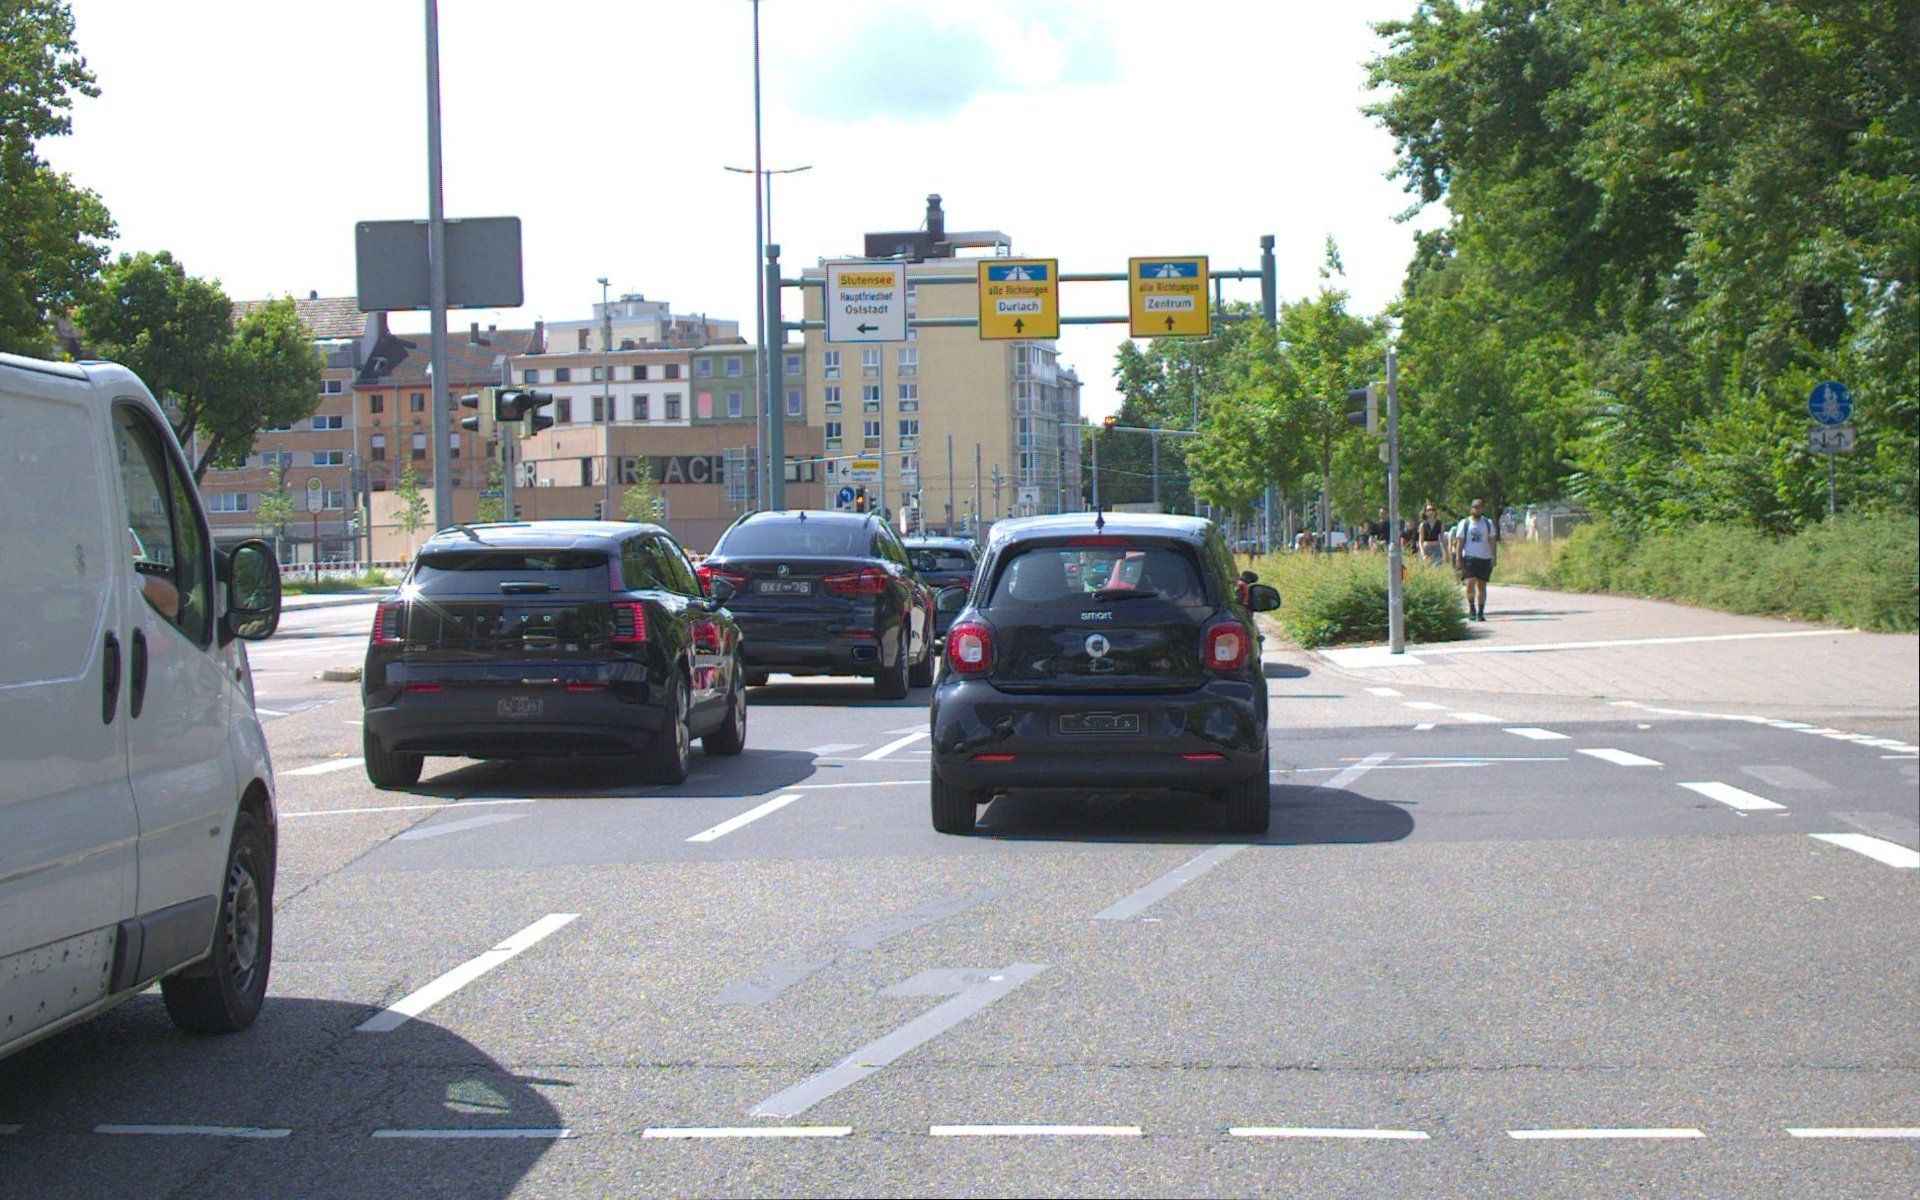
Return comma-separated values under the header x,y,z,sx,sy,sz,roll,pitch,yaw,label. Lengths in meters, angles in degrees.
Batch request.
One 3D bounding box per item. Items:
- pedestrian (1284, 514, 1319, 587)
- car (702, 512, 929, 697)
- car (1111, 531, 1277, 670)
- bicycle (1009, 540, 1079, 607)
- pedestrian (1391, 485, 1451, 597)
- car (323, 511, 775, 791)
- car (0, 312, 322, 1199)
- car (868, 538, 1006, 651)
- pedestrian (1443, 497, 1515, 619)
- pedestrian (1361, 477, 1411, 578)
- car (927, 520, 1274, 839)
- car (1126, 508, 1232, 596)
x,y,z,sx,sy,sz,roll,pitch,yaw,label
9.412,-1.367,94.662,0.838,1.962,0.861,-1,1,0,pedestrian
-1.265,-0.011,31.902,1.827,1.595,4.393,0,1,1,car
2.490,-0.014,37.288,1.611,1.406,3.517,-1,1,1,car
2.574,-0.821,106.139,1.993,2.007,4.000,1,1,-1,bicycle
7.800,-0.995,58.148,0.838,1.861,1.019,-1,1,0,pedestrian
-2.418,0.218,21.527,2.017,1.524,4.887,1,2,3,car
-3.087,0.325,8.310,2.006,1.948,5.194,0,1,1,car
-0.252,-0.093,43.159,1.611,1.320,3.517,-1,1,1,car
7.407,-0.603,49.100,0.851,1.695,0.931,-2,0,2,pedestrian
8.343,-1.419,67.356,0.838,1.962,0.861,-1,1,0,pedestrian
0.692,0.334,17.739,1.611,1.480,3.517,0,1,1,car
3.635,-0.815,57.503,1.611,1.406,3.517,1,1,1,car
